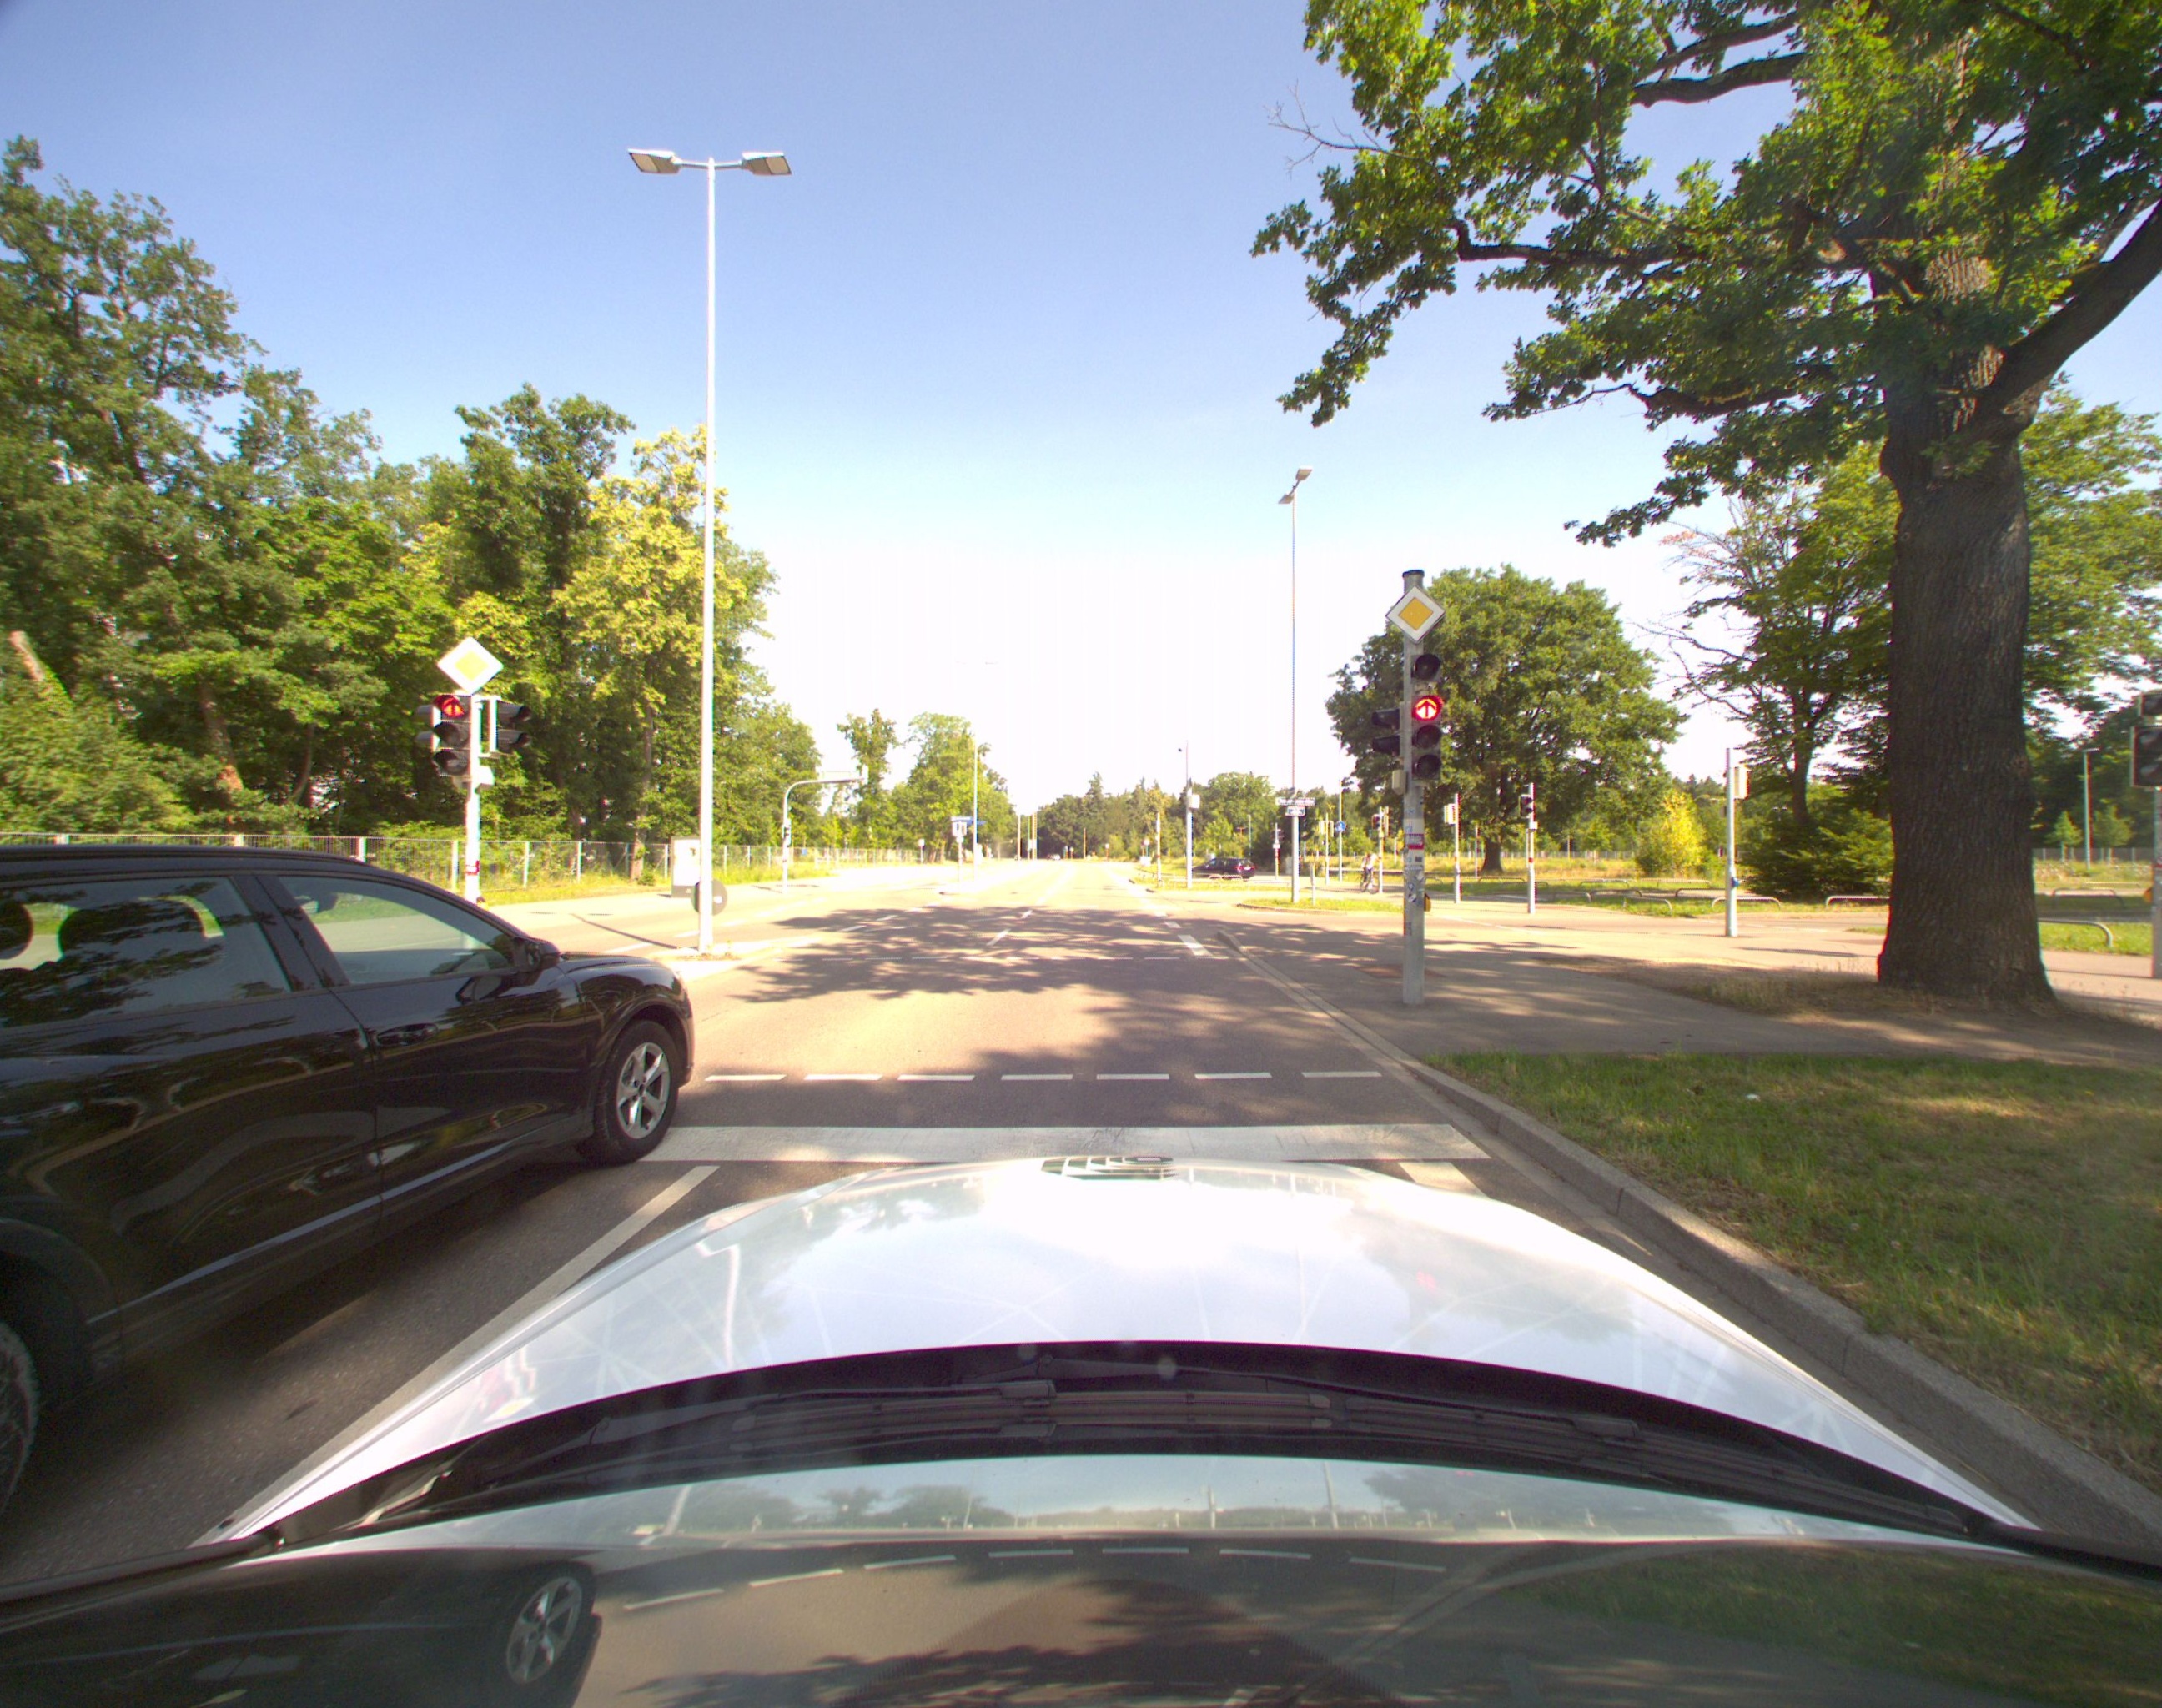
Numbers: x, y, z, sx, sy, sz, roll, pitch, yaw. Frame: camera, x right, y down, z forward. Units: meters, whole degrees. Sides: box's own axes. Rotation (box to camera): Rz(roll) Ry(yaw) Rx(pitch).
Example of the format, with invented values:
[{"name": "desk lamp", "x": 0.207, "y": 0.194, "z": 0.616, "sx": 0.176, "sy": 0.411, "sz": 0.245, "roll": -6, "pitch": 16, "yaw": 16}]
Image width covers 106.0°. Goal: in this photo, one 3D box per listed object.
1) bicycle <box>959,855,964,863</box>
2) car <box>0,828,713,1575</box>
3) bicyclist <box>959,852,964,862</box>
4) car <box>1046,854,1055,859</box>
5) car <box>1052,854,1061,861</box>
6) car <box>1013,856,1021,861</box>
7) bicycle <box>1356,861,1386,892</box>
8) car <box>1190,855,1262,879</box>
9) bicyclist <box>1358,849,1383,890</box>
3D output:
[{"name": "bicycle", "x": -18.923, "y": 0.814, "z": 129.029, "sx": 0.658, "sy": 1.136, "sz": 1.876, "roll": 1, "pitch": 0, "yaw": -4}, {"name": "car", "x": -3.059, "y": 0.733, "z": 2.664, "sx": 1.681, "sy": 1.544, "sz": 4.150, "roll": -1, "pitch": 0, "yaw": 2}, {"name": "bicyclist", "x": -18.892, "y": 0.444, "z": 129.043, "sx": 0.658, "sy": 1.467, "sz": 1.056, "roll": 1, "pitch": 0, "yaw": -4}, {"name": "car", "x": -8.690, "y": 0.704, "z": 230.813, "sx": 1.993, "sy": 1.596, "sz": 3.988, "roll": 0, "pitch": 0, "yaw": -9}, {"name": "car", "x": -6.517, "y": 0.912, "z": 214.996, "sx": 1.993, "sy": 1.750, "sz": 3.988, "roll": 0, "pitch": -1, "yaw": -8}, {"name": "car", "x": -18.732, "y": 1.208, "z": 237.945, "sx": 1.811, "sy": 1.388, "sz": 4.146, "roll": -2, "pitch": 0, "yaw": -10}, {"name": "bicycle", "x": 11.546, "y": 0.883, "z": 32.471, "sx": 0.720, "sy": 1.199, "sz": 2.105, "roll": 0, "pitch": 0, "yaw": 7}, {"name": "car", "x": 8.890, "y": 0.785, "z": 50.181, "sx": 1.956, "sy": 1.420, "sz": 4.245, "roll": 0, "pitch": 0, "yaw": -37}, {"name": "bicyclist", "x": 11.552, "y": 0.605, "z": 32.529, "sx": 0.720, "sy": 1.639, "sz": 1.060, "roll": 0, "pitch": 0, "yaw": 7}]
